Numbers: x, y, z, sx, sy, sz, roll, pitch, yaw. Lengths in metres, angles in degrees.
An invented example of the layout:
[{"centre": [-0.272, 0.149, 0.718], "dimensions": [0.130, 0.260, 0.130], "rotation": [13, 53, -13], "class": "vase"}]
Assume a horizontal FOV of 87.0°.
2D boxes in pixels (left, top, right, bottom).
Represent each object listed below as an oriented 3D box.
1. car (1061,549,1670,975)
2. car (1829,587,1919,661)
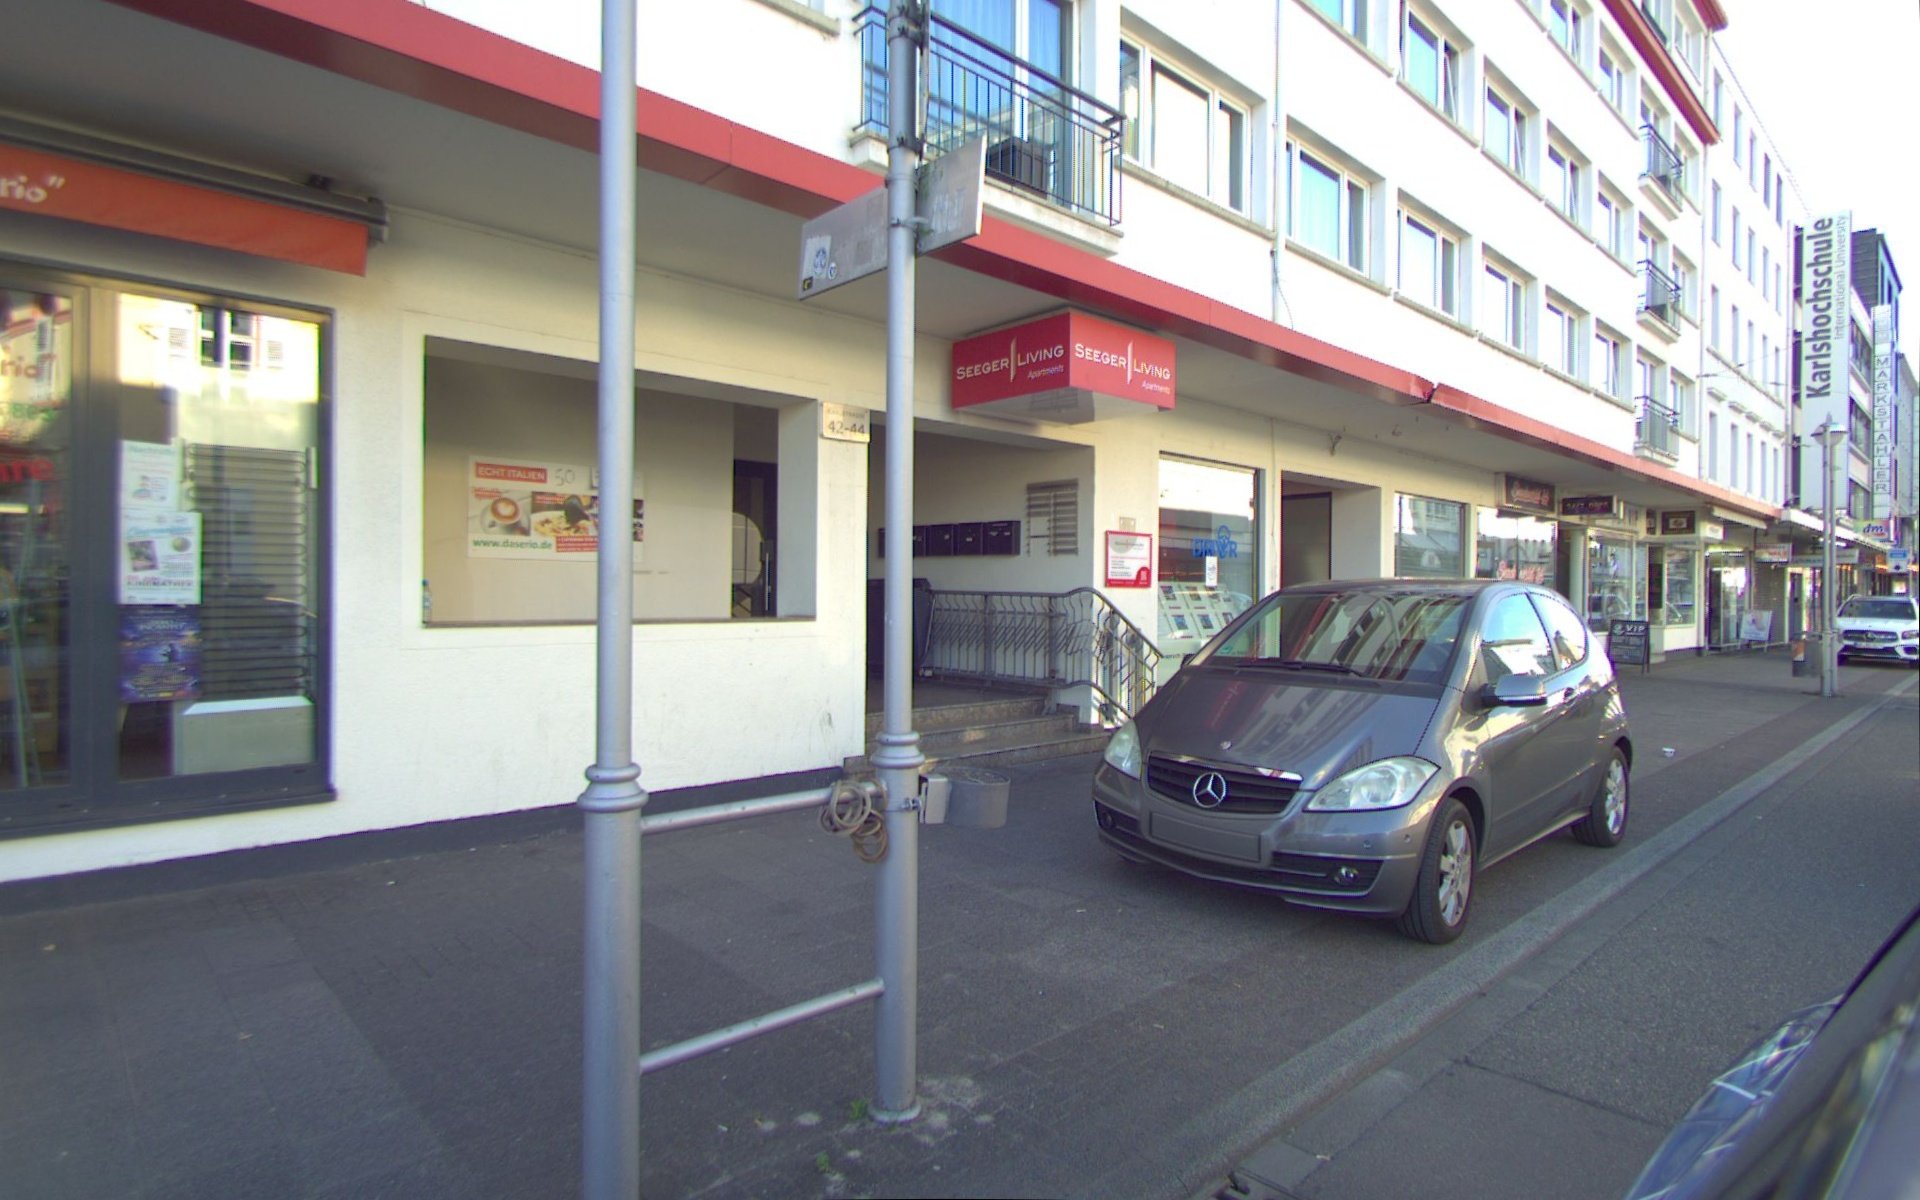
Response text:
[{"centre": [2.499, 0.598, 5.691], "dimensions": [3.932, 1.565, 1.681], "rotation": [0, 0, -43], "class": "car"}, {"centre": [22.395, 0.523, 24.351], "dimensions": [1.994, 1.650, 3.935], "rotation": [1, 1, 45], "class": "car"}]
